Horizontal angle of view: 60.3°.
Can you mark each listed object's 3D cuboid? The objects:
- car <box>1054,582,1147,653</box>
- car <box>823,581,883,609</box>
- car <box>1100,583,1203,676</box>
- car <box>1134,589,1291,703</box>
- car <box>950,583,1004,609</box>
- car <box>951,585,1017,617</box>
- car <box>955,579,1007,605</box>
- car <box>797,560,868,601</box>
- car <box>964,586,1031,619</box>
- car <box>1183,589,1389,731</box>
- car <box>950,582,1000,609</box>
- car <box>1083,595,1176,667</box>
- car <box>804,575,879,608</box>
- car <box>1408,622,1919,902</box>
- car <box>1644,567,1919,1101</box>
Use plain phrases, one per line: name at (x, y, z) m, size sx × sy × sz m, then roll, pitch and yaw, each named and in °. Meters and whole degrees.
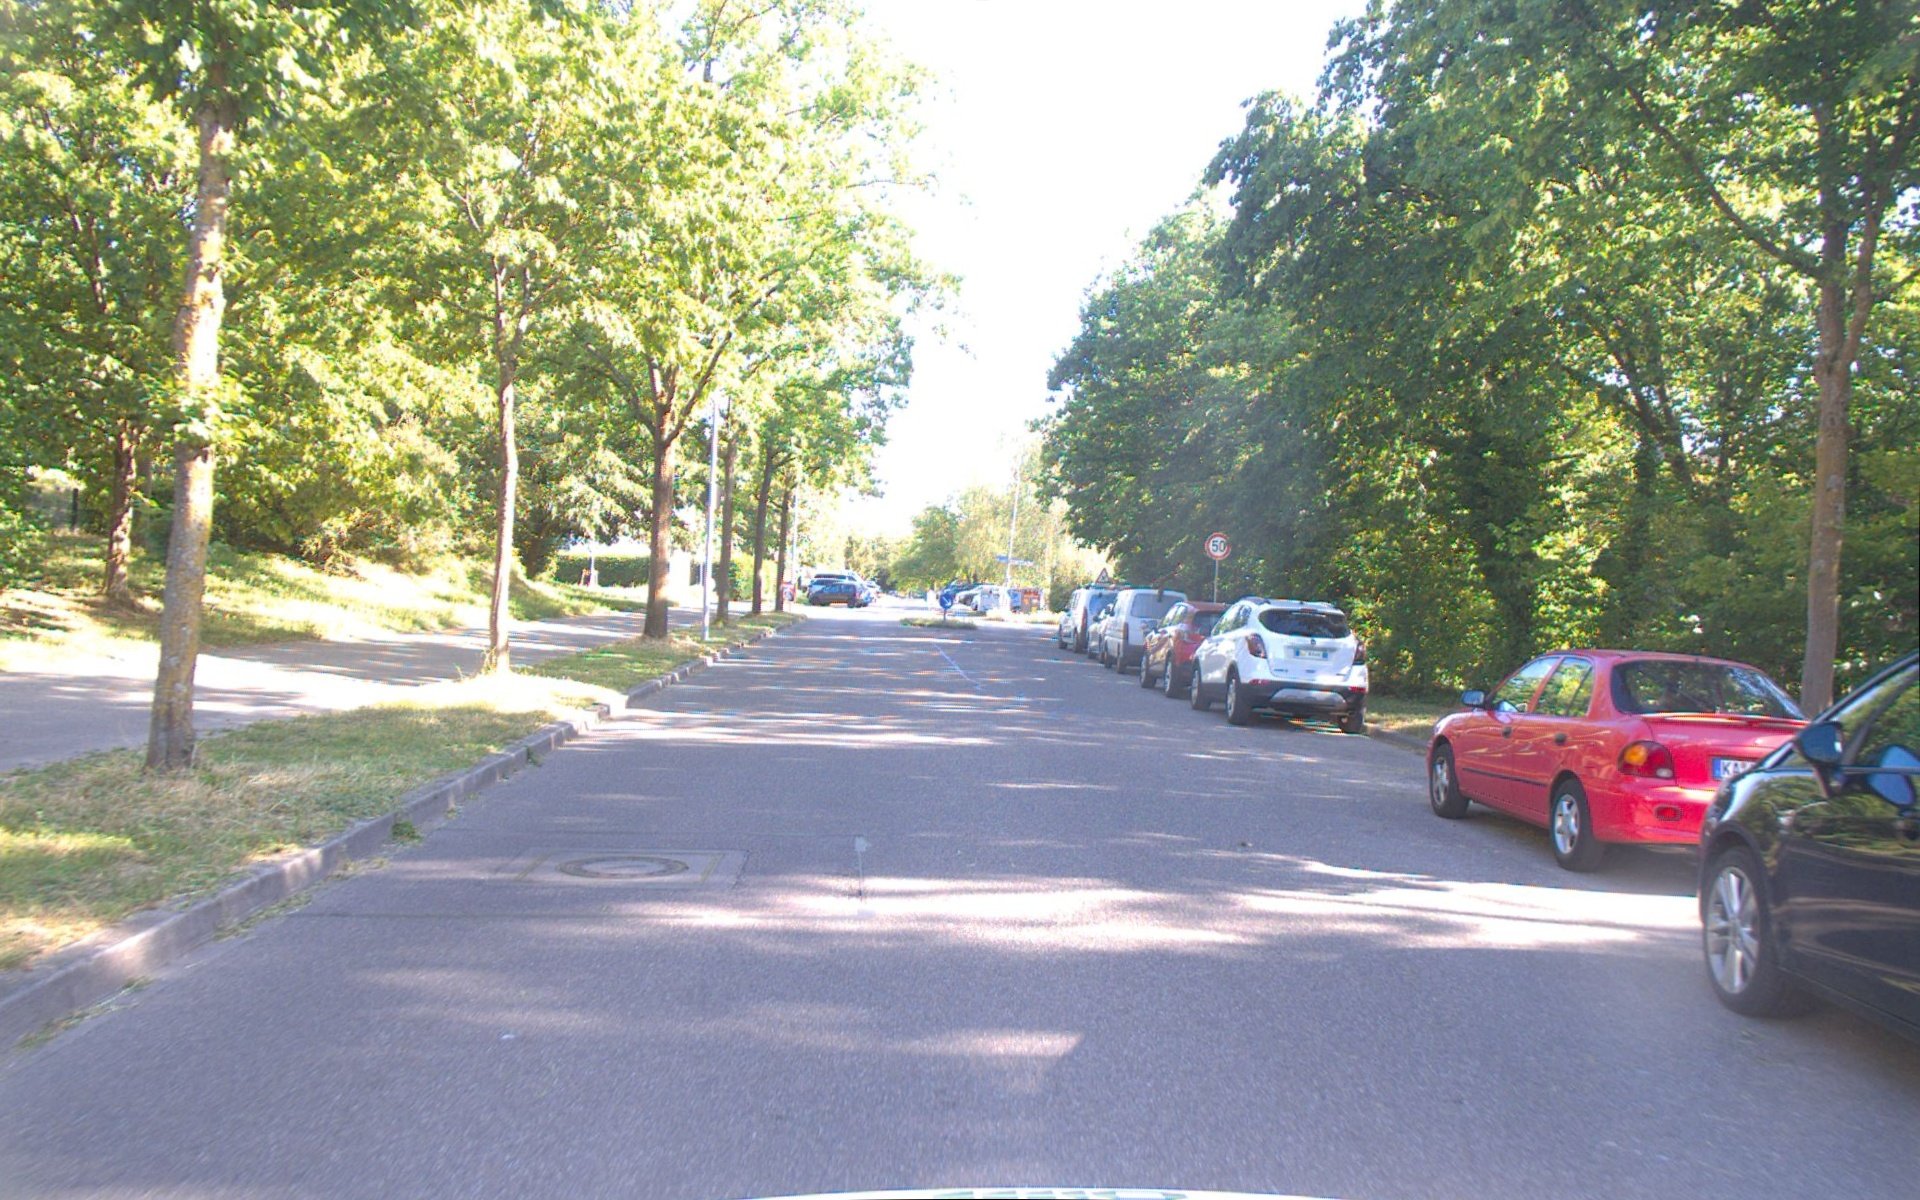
car at (3.956, 0.454, 47.314) m, size 1.756 × 1.816 × 4.552 m, roll 5°, pitch 0°, yaw -5°
car at (-7.583, -0.357, 117.133) m, size 4.024 × 1.603 × 1.958 m, roll 5°, pitch 0°, yaw 0°
car at (4.114, 0.602, 36.079) m, size 1.591 × 1.803 × 3.667 m, roll 5°, pitch 0°, yaw -2°
car at (4.221, 0.715, 28.215) m, size 1.741 × 1.649 × 4.062 m, roll 5°, pitch 0°, yaw -3°
car at (1.251, -0.266, 122.074) m, size 3.759 × 1.603 × 1.689 m, roll 5°, pitch 0°, yaw 4°
car at (1.469, 0.048, 99.464) m, size 3.759 × 1.603 × 1.689 m, roll 5°, pitch 0°, yaw 4°
car at (1.578, -0.616, 125.218) m, size 3.759 × 1.603 × 1.689 m, roll 5°, pitch 0°, yaw 2°
car at (-9.735, -1.462, 125.999) m, size 5.102 × 2.666 × 2.290 m, roll 5°, pitch 0°, yaw -7°
car at (2.203, 0.169, 96.667) m, size 3.759 × 1.603 × 1.689 m, roll 5°, pitch 0°, yaw 4°
car at (4.388, 0.746, 22.897) m, size 1.741 × 1.649 × 4.062 m, roll 5°, pitch 0°, yaw -3°
car at (1.200, -0.369, 131.407) m, size 3.759 × 1.826 × 1.689 m, roll 5°, pitch 0°, yaw 2°
car at (4.171, 0.732, 41.174) m, size 1.657 × 1.538 × 4.205 m, roll 5°, pitch 0°, yaw -2°
car at (-7.199, -0.513, 100.836) m, size 4.228 × 1.603 × 2.047 m, roll 5°, pitch 0°, yaw 5°
car at (4.628, 0.963, 11.583) m, size 1.628 × 1.399 × 4.153 m, roll 5°, pitch 0°, yaw -2°
car at (3.955, 0.806, 5.230) m, size 1.773 × 1.679 × 4.422 m, roll 5°, pitch 0°, yaw 2°
